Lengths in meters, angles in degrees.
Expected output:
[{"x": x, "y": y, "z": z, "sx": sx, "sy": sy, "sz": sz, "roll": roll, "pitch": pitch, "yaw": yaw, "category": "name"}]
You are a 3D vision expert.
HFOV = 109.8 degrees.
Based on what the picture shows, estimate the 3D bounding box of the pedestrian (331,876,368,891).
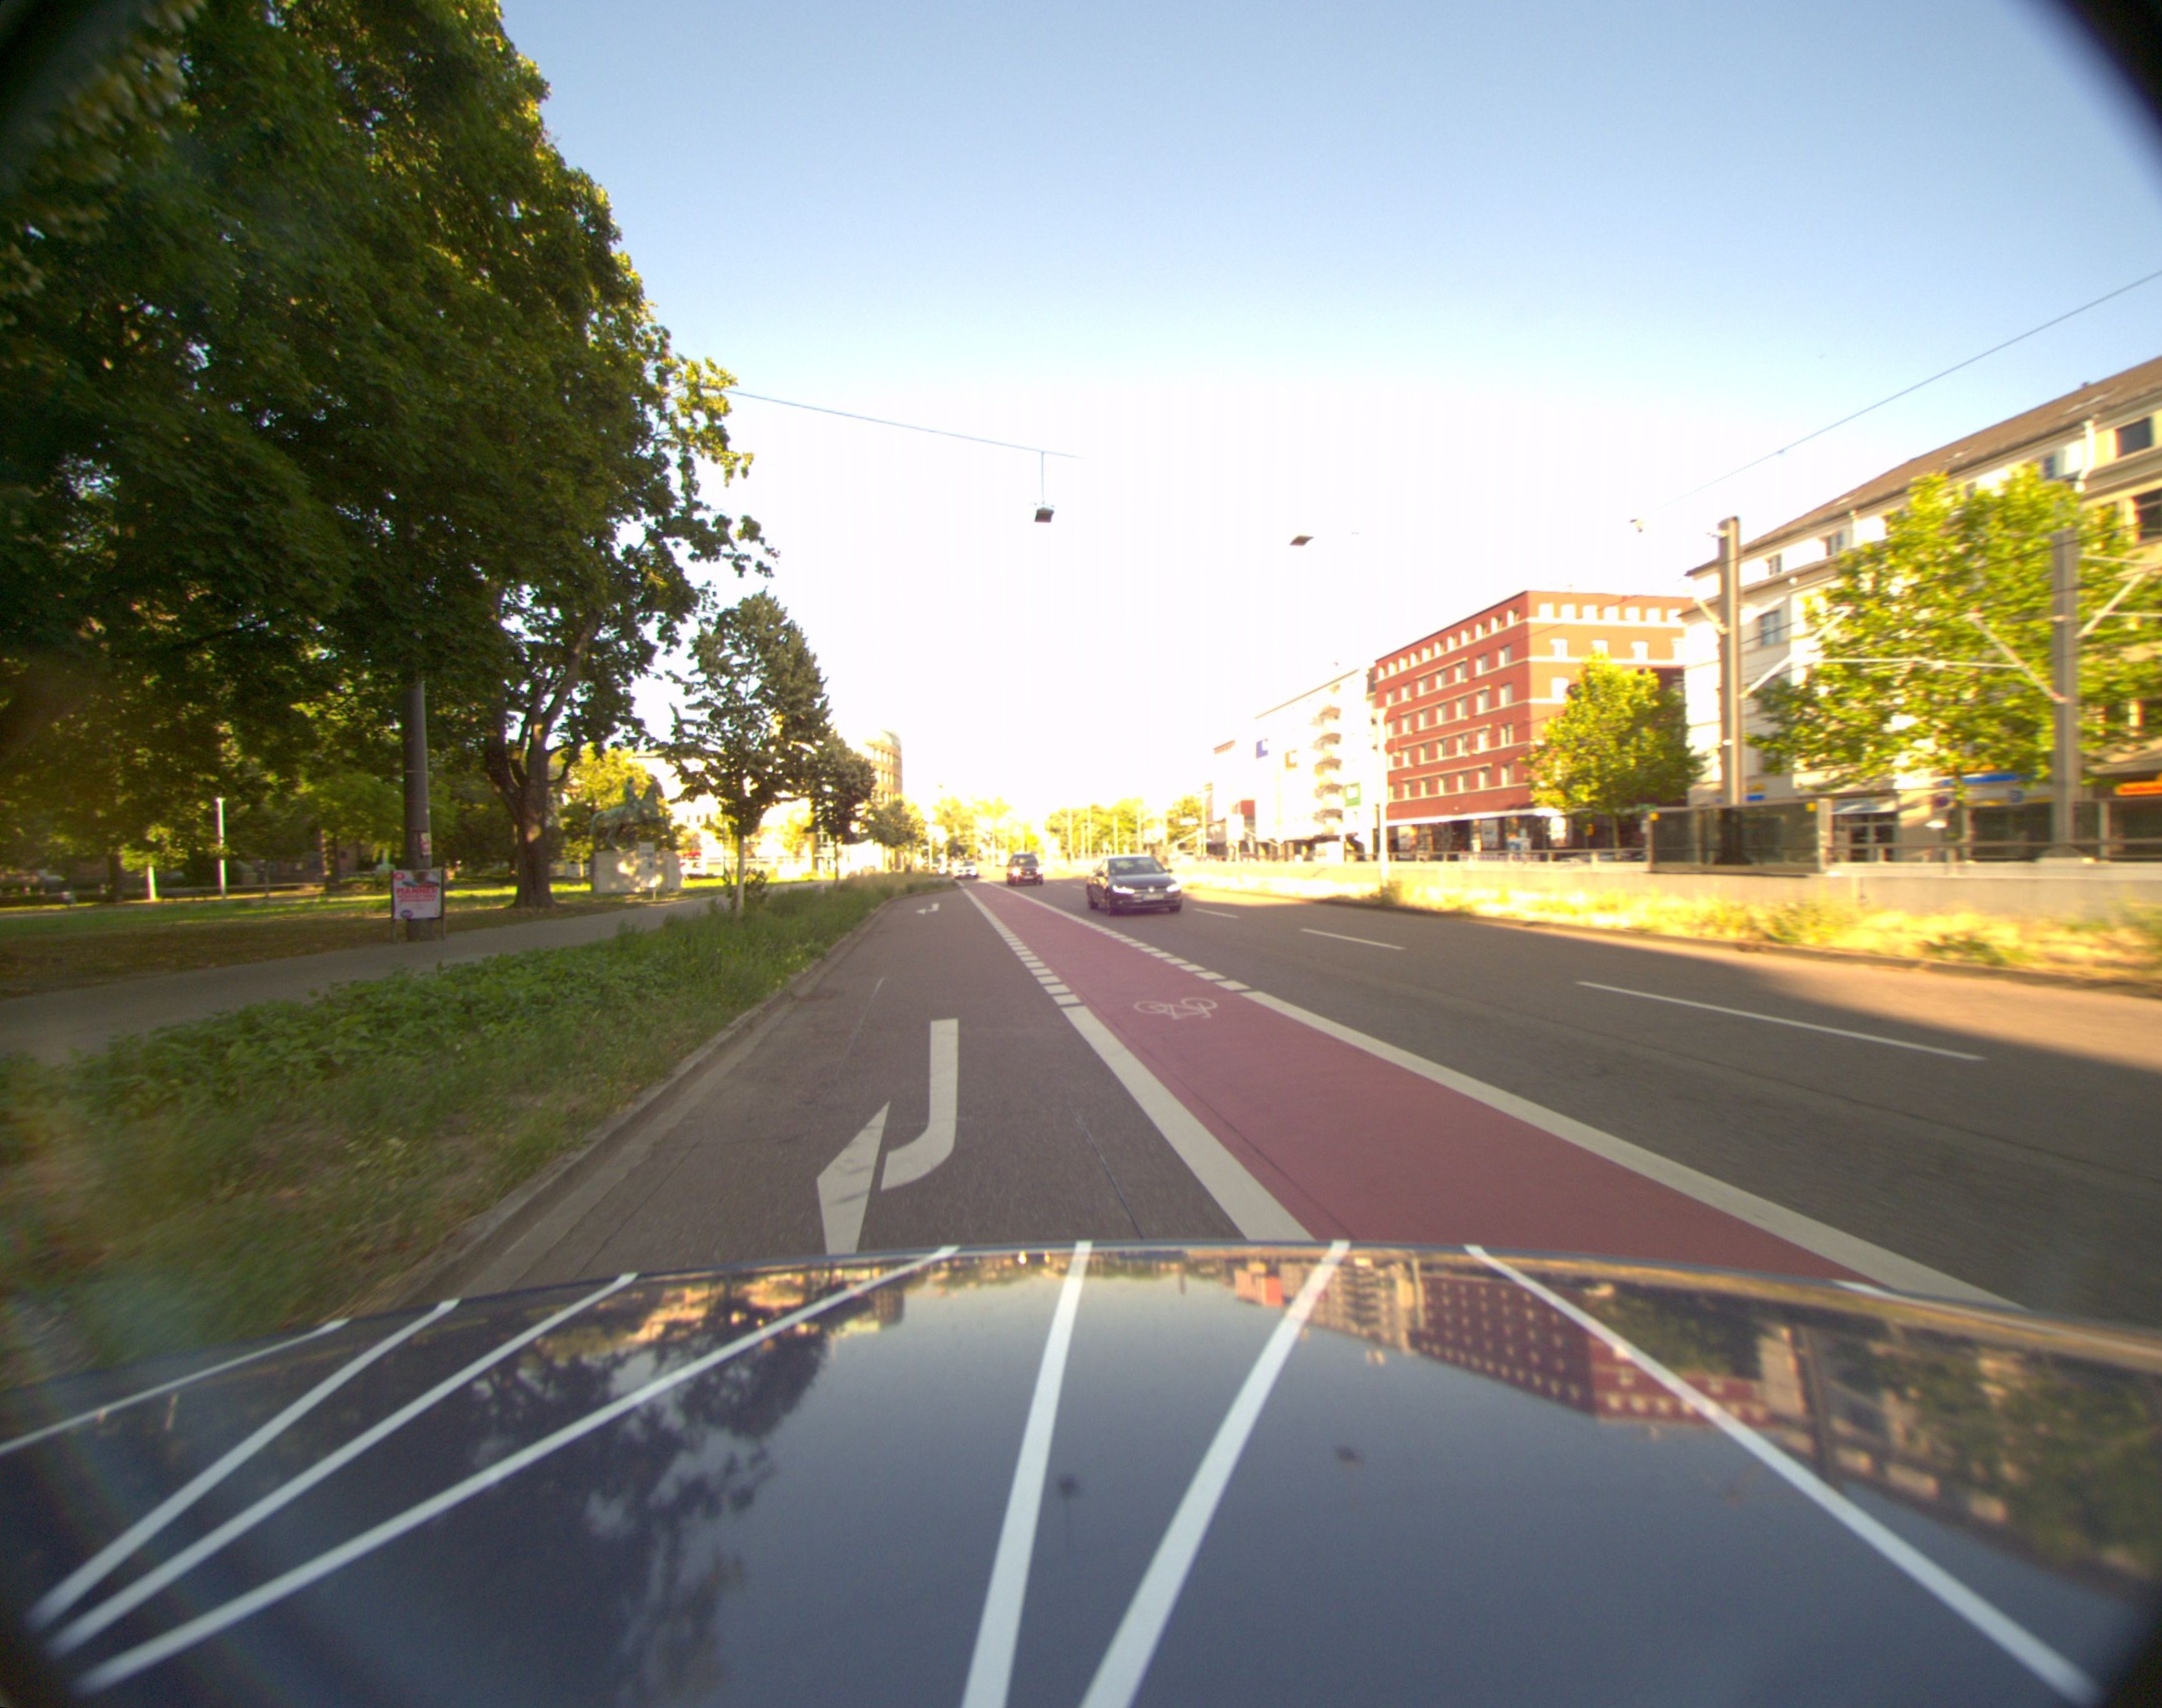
[{"x": -52.456, "y": 2.083, "z": 54.506, "sx": 1.382, "sy": 0.988, "sz": 1.284, "roll": -1, "pitch": 0, "yaw": 1, "category": "pedestrian"}]

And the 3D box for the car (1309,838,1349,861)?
[{"x": 23.744, "y": -0.392, "z": 72.973, "sx": 1.958, "sy": 2.121, "sz": 4.571, "roll": -1, "pitch": 0, "yaw": -5, "category": "car"}]

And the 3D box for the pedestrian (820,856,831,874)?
[{"x": -23.027, "y": 0.984, "z": 68.470, "sx": 0.741, "sy": 1.640, "sz": 0.915, "roll": 1, "pitch": 0, "yaw": -6, "category": "pedestrian"}]

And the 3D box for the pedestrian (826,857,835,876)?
[{"x": -22.883, "y": 1.155, "z": 69.461, "sx": 0.599, "sy": 1.679, "sz": 0.781, "roll": 0, "pitch": 0, "yaw": -6, "category": "pedestrian"}]

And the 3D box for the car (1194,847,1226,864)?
[{"x": 14.129, "y": 0.164, "z": 83.368, "sx": 2.000, "sy": 1.786, "sz": 4.891, "roll": -2, "pitch": 0, "yaw": -8, "category": "car"}]

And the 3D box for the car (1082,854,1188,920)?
[{"x": 1.253, "y": 0.785, "z": 19.676, "sx": 1.771, "sy": 1.418, "sz": 4.242, "roll": -3, "pitch": 0, "yaw": -9, "category": "car"}]

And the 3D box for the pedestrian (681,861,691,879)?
[{"x": -36.921, "y": 1.499, "z": 71.054, "sx": 0.644, "sy": 1.729, "sz": 0.595, "roll": -2, "pitch": 1, "yaw": -43, "category": "pedestrian"}]

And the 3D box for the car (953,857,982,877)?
[{"x": -9.506, "y": 1.075, "z": 63.364, "sx": 1.836, "sy": 1.528, "sz": 4.273, "roll": -4, "pitch": 1, "yaw": -15, "category": "car"}]

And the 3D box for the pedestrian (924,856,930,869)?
[{"x": -20.764, "y": 1.111, "z": 102.239, "sx": 0.651, "sy": 1.714, "sz": 0.714, "roll": -2, "pitch": 1, "yaw": -8, "category": "pedestrian"}]

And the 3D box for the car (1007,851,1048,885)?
[{"x": -2.992, "y": 0.718, "z": 41.660, "sx": 1.771, "sy": 1.722, "sz": 4.144, "roll": -2, "pitch": 0, "yaw": -10, "category": "car"}]

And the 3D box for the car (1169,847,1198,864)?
[{"x": 12.407, "y": 0.149, "z": 92.186, "sx": 2.000, "sy": 2.002, "sz": 4.770, "roll": -2, "pitch": 0, "yaw": -10, "category": "car"}]

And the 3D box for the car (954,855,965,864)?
[{"x": -22.752, "y": 1.029, "z": 142.196, "sx": 1.771, "sy": 1.464, "sz": 4.010, "roll": -3, "pitch": 1, "yaw": -10, "category": "car"}]
